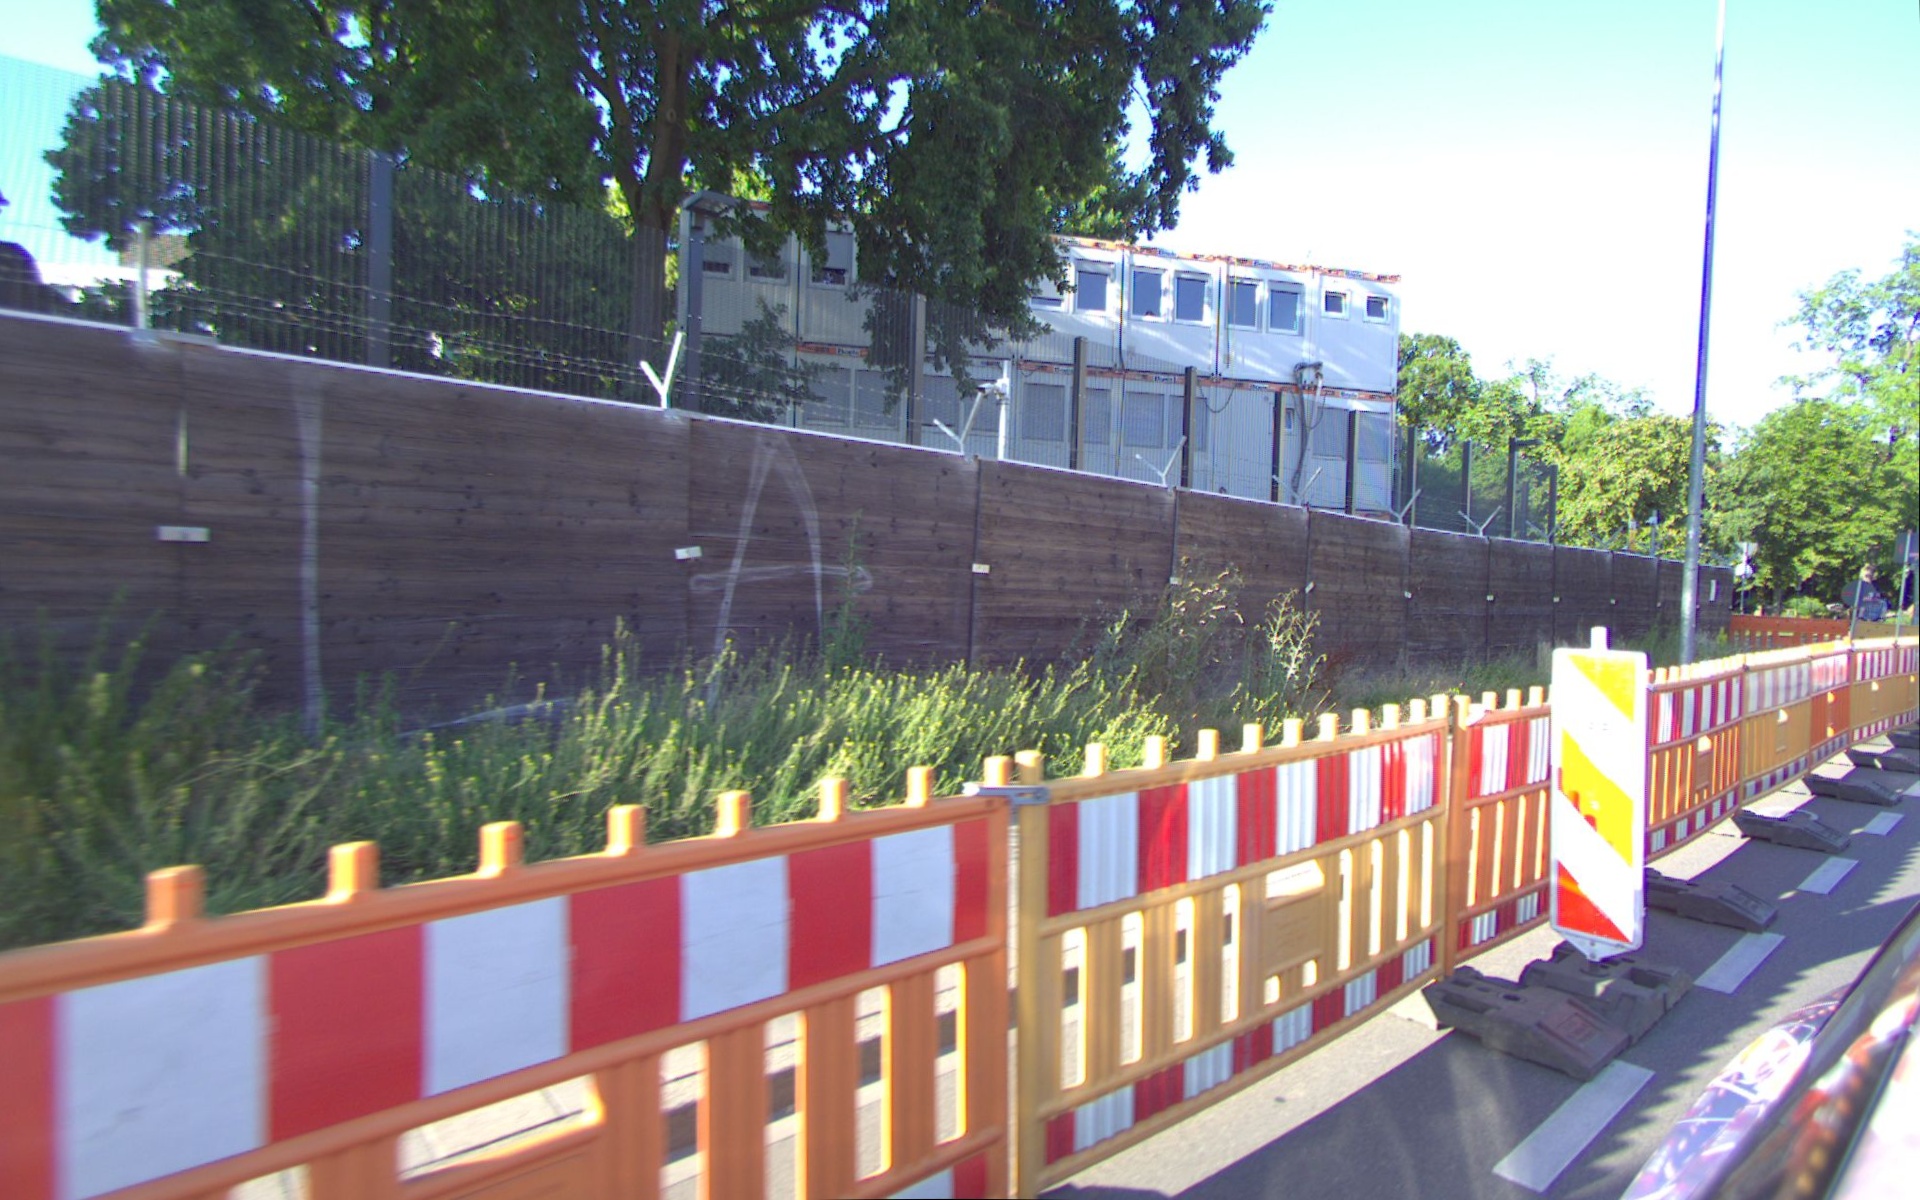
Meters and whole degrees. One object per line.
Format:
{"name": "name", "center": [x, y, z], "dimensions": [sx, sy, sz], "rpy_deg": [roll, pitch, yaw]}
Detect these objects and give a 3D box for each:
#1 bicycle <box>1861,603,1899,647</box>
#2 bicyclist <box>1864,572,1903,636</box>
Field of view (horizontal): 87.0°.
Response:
{"name": "bicycle", "center": [24.047, 0.639, 26.450], "dimensions": [1.877, 1.074, 0.429], "rpy_deg": [0, 2, -39]}
{"name": "bicyclist", "center": [24.165, 0.100, 26.478], "dimensions": [0.887, 1.634, 0.585], "rpy_deg": [0, 2, -40]}
